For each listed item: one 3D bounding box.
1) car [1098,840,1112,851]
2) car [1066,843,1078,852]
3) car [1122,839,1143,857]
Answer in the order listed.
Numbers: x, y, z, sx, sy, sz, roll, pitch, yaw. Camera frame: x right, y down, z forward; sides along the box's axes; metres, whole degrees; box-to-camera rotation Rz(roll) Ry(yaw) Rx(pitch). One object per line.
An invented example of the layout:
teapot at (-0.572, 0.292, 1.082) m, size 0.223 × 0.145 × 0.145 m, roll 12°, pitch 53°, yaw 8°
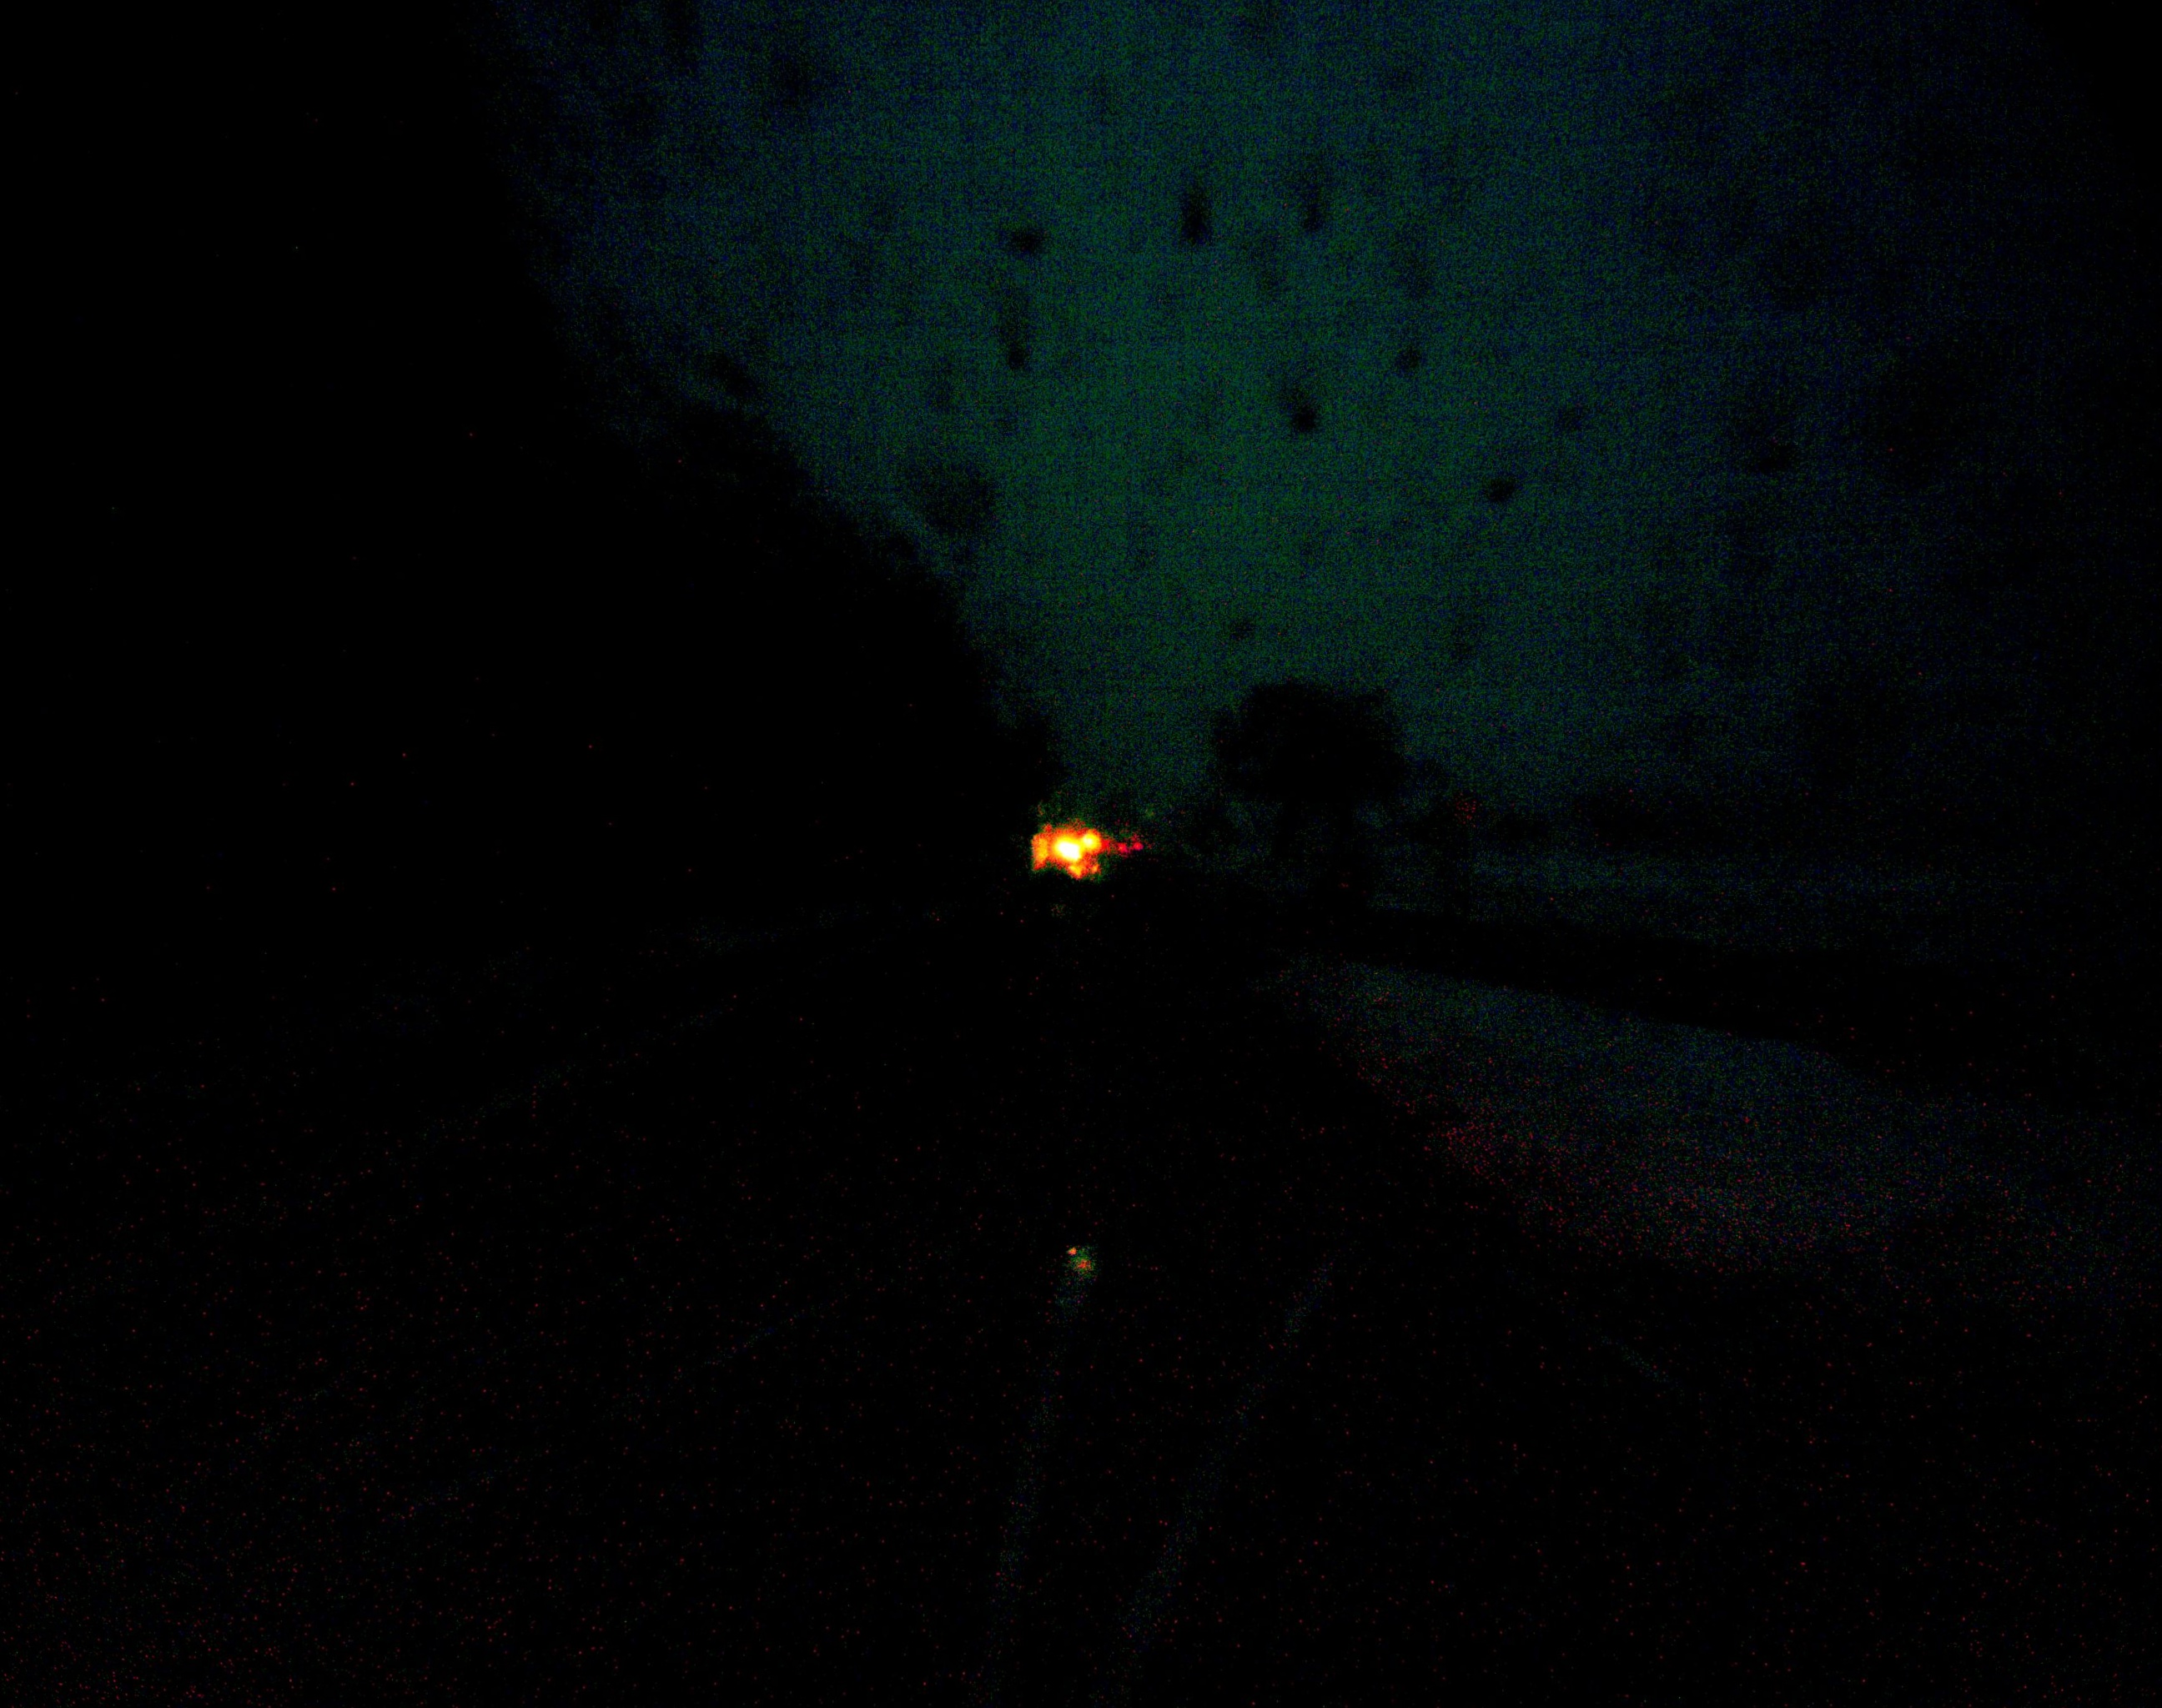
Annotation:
car at (3.837, -1.383, 121.771) m, size 1.998 × 1.796 × 3.999 m, roll -2°, pitch 1°, yaw 1°
car at (-1.468, -1.062, 122.990) m, size 1.726 × 1.426 × 3.675 m, roll -2°, pitch 0°, yaw -4°
car at (5.559, -0.680, 82.600) m, size 1.998 × 1.796 × 3.999 m, roll -2°, pitch 1°, yaw 1°
